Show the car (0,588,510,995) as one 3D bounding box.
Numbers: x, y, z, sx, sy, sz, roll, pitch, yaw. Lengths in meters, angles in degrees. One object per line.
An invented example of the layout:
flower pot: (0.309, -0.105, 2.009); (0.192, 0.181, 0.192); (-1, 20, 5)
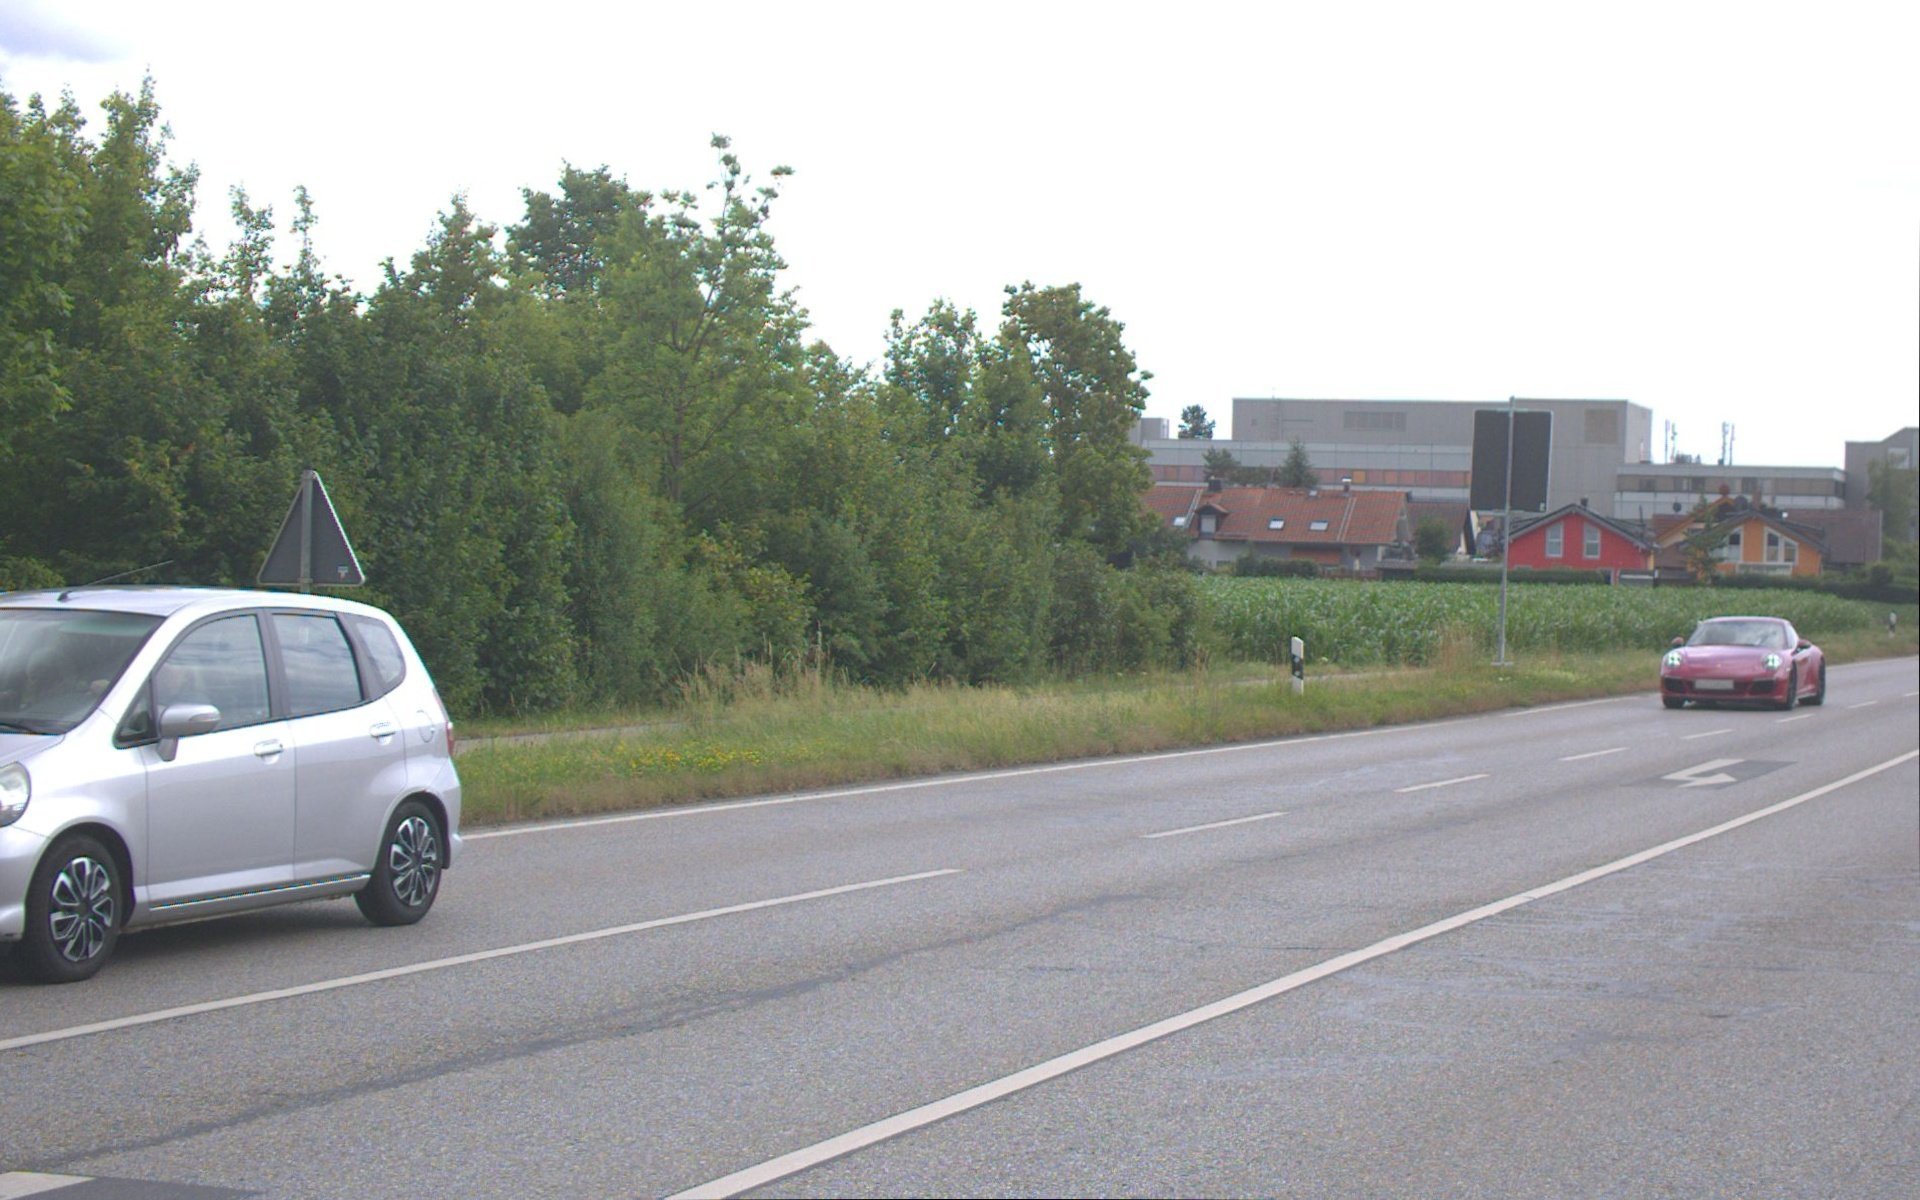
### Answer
car: (-3.573, 0.675, 14.200); (1.731, 1.427, 3.930); (1, 0, 21)

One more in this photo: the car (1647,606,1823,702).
car: (11.104, 0.744, 49.067); (1.773, 1.237, 4.206); (2, 1, 22)
